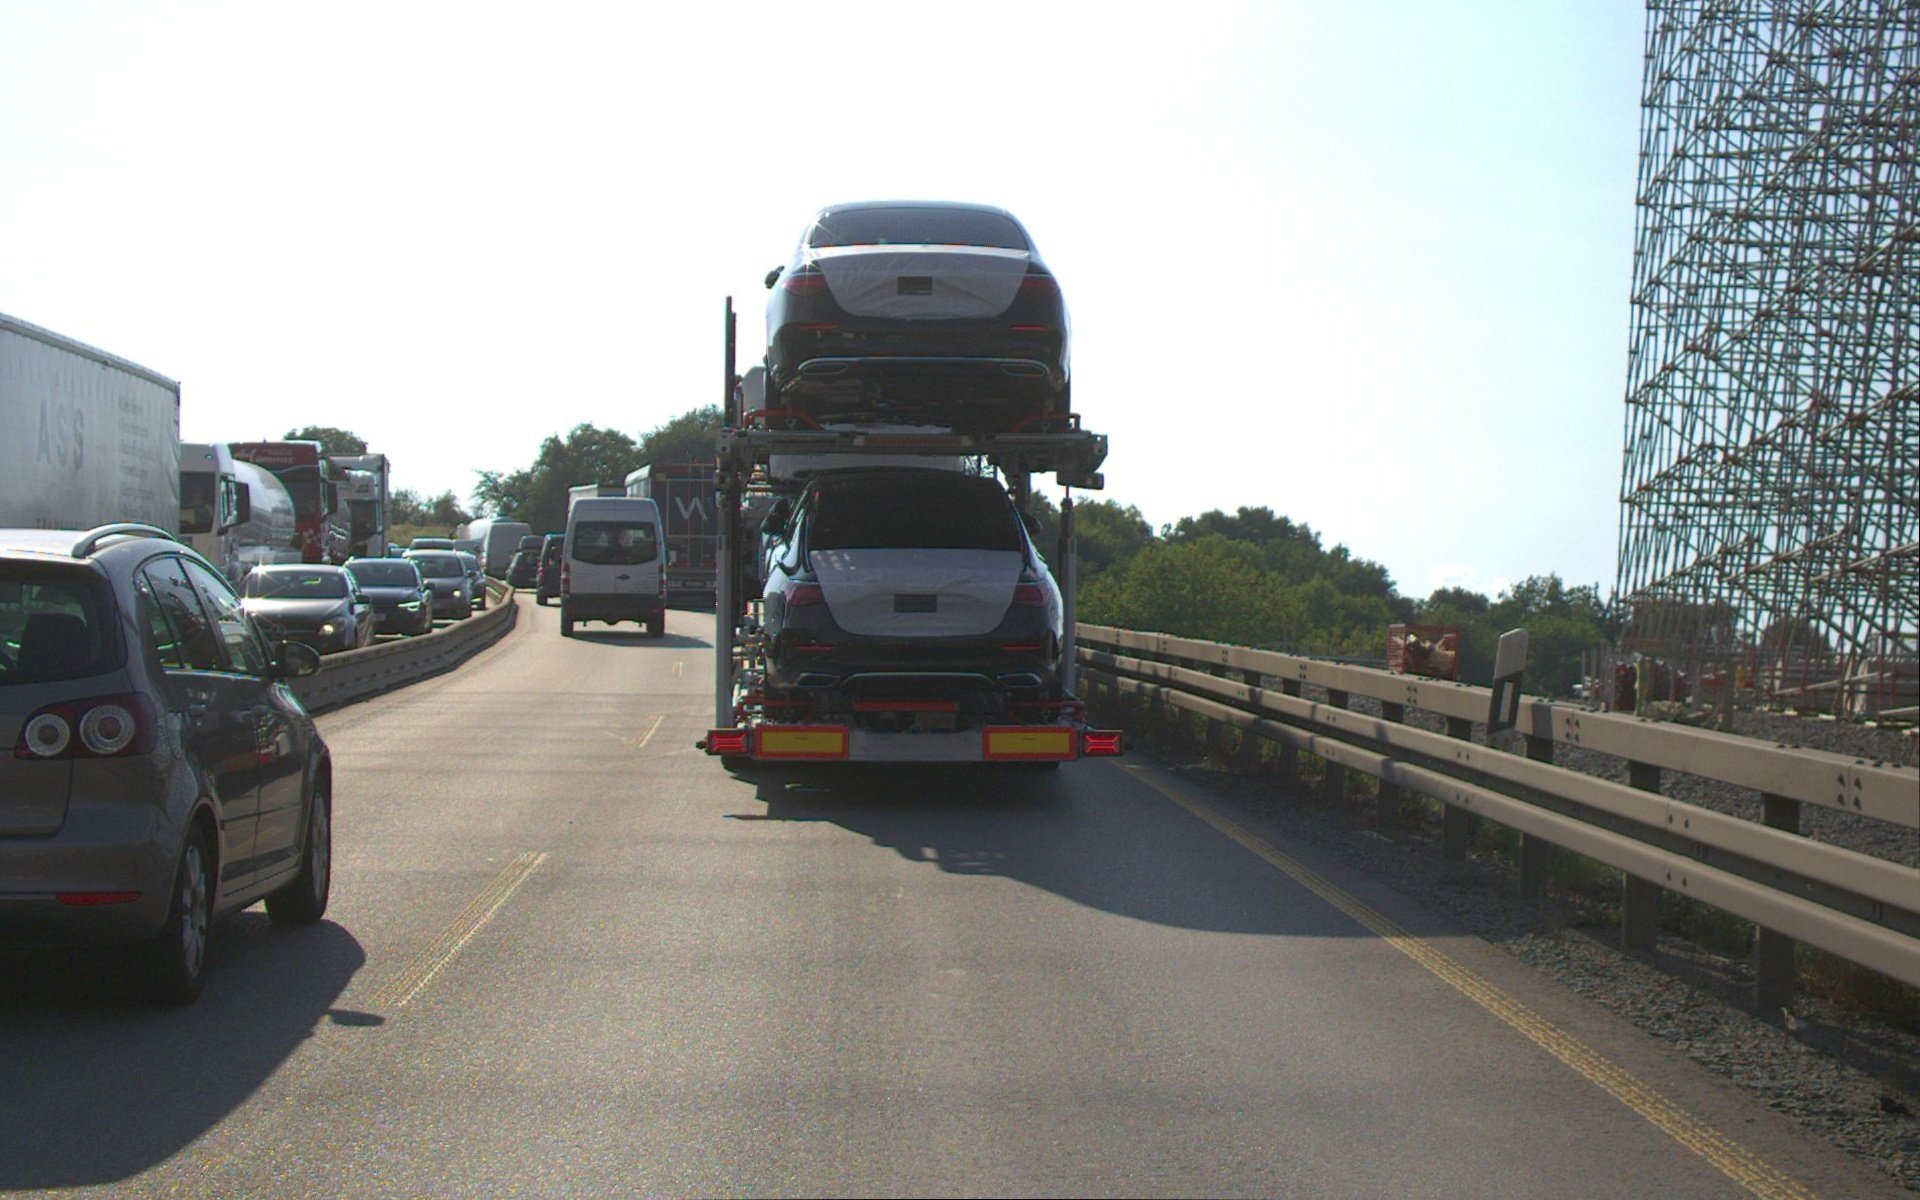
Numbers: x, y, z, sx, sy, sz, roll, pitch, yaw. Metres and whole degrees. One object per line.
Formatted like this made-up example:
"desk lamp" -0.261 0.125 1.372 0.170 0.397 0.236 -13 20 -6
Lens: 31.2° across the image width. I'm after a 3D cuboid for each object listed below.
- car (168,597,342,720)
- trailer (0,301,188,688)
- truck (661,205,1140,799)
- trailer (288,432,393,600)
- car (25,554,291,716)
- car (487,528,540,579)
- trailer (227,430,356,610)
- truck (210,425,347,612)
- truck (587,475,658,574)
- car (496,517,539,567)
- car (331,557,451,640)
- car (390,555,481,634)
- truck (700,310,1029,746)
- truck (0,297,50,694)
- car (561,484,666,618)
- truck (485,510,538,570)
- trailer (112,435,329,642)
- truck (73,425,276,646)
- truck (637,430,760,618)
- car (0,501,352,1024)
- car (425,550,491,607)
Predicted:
"car" -8.557 0.684 41.981 1.607 1.371 3.901 1 1 -5
"trailer" -11.609 -1.159 41.744 2.427 3.949 14.101 1 1 -5
"truck" -0.594 -0.627 25.693 2.799 3.485 10.606 1 1 -3
"trailer" -16.921 -2.243 94.380 2.475 4.314 10.514 1 1 -8
"car" -7.720 0.294 33.473 1.777 1.445 4.664 1 1 -4
"car" -15.905 -1.645 122.423 1.826 1.766 4.001 1 1 -7
"trailer" -15.182 -1.757 78.675 2.306 3.777 12.055 1 1 -8
"truck" -14.356 -1.691 72.698 2.432 3.772 5.619 1 0 -7
"truck" -13.026 -2.845 132.268 2.530 3.635 8.907 1 1 -7
"car" -18.233 -2.355 141.504 1.629 2.007 4.001 1 0 -9
"car" -10.003 -0.040 60.675 1.793 1.393 4.244 1 1 -5
"car" -11.022 -0.134 72.456 1.750 1.581 3.944 1 1 -7
"truck" -1.066 -0.672 35.095 2.837 3.779 9.988 1 1 -3
"truck" -10.990 -1.071 34.748 2.473 4.032 5.618 1 0 -5
"car" -6.720 -0.943 66.804 1.920 2.484 5.410 1 1 -5
"truck" -24.211 -3.205 185.549 2.590 3.159 6.678 1 1 -9
"trailer" -13.184 -1.072 62.197 2.306 3.350 12.055 1 1 -5
"truck" -12.654 -1.018 55.735 2.413 3.358 5.618 1 0 -5
"truck" -7.776 -2.171 101.086 3.285 5.219 9.938 1 0 -6
"car" -3.361 0.469 12.456 1.691 1.590 4.000 1 1 -2
"car" -12.945 -0.557 88.869 1.627 1.421 4.389 1 1 -8
